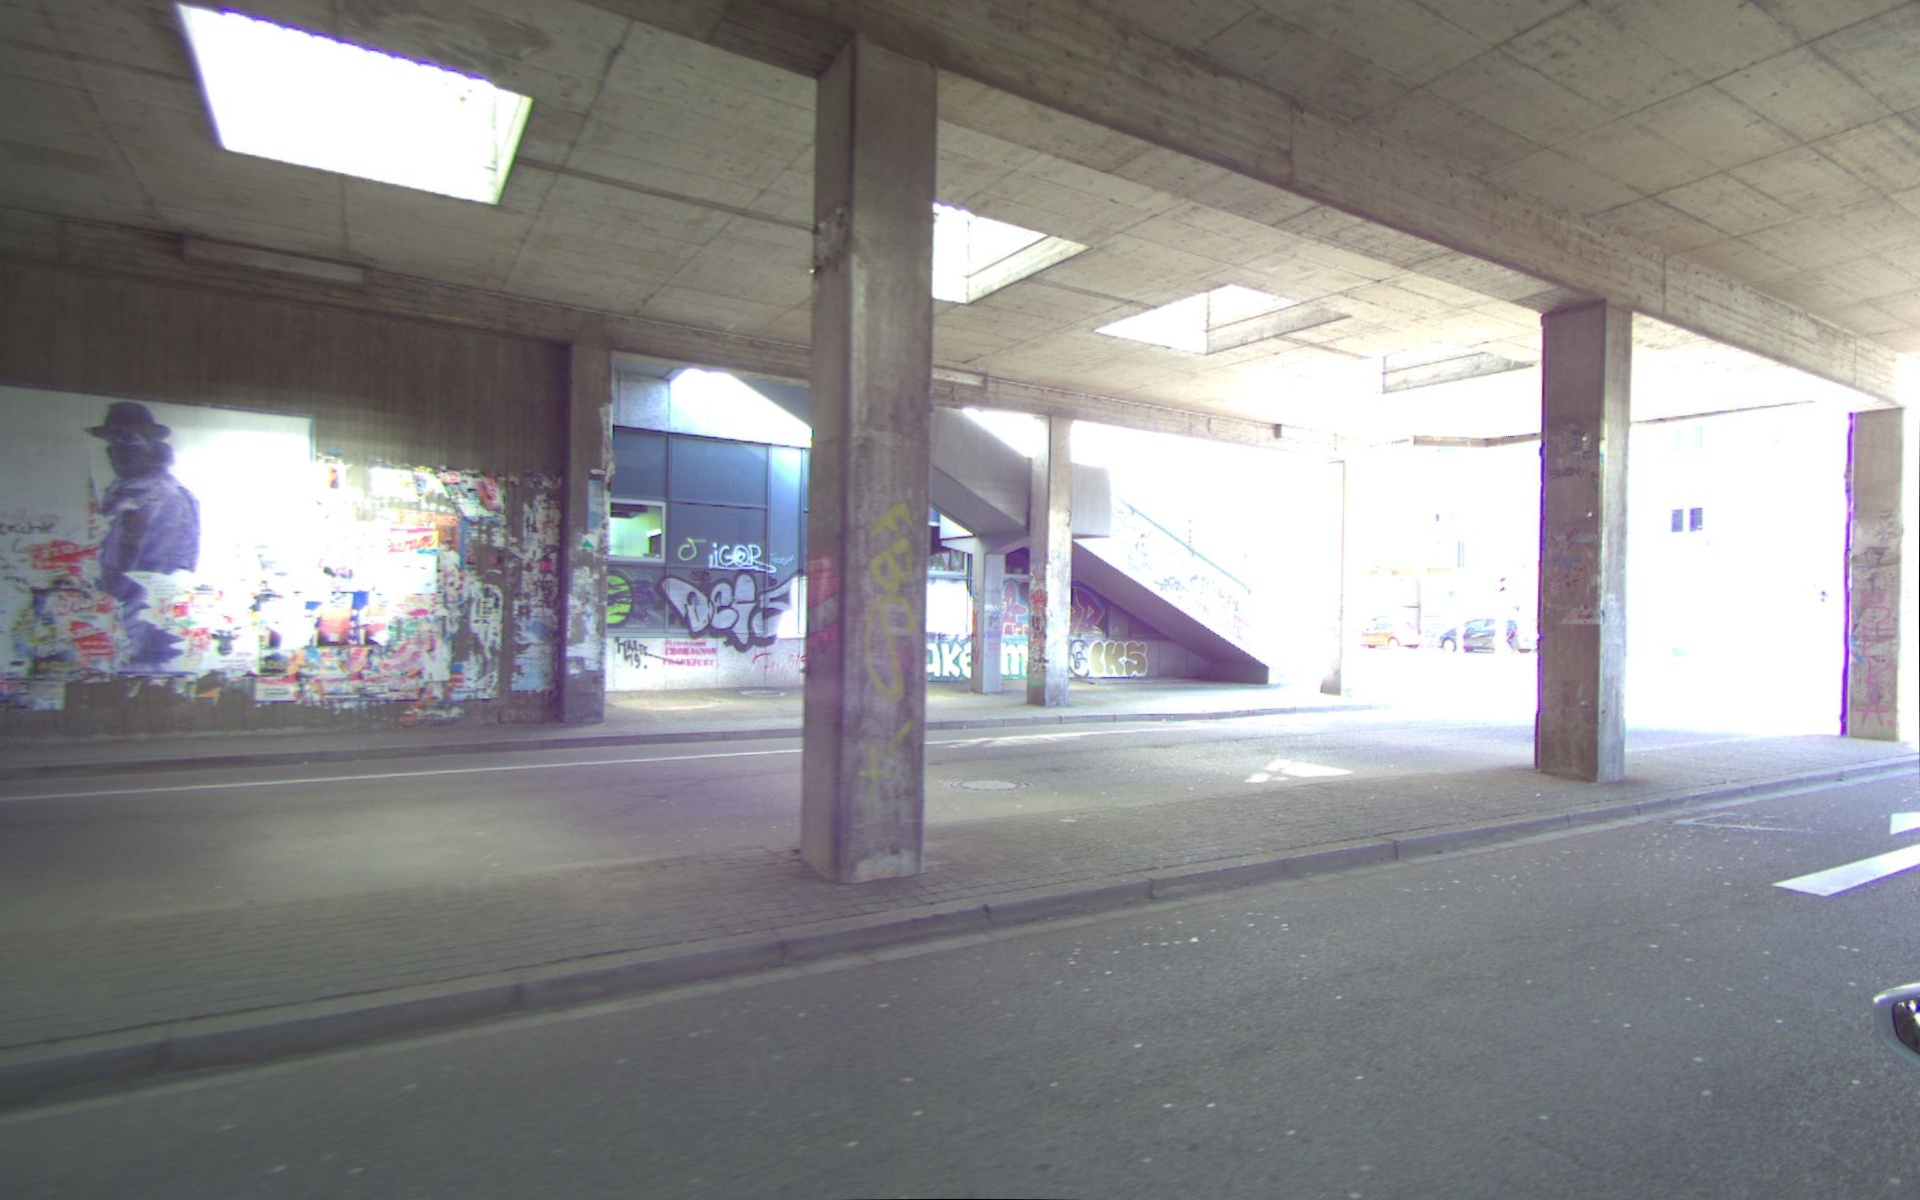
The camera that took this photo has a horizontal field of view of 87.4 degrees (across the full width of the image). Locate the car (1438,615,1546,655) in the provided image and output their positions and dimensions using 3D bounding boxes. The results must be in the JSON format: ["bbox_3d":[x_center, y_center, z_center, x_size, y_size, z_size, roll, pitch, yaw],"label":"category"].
[{"bbox_3d":[24.966,1.604,47.248,1.939,1.747,4.141,0,0,-29],"label":"car"}]

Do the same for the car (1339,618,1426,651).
[{"bbox_3d":[21.934,1.758,52.253,1.876,1.561,3.861,0,0,-29],"label":"car"}]

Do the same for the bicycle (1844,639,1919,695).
[{"bbox_3d":[20.188,1.449,21.940,1.836,1.105,0.695,-1,0,-27],"label":"bicycle"}]

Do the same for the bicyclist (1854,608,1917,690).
[{"bbox_3d":[20.217,1.038,21.949,0.955,1.734,0.743,-1,0,-27],"label":"bicyclist"}]
